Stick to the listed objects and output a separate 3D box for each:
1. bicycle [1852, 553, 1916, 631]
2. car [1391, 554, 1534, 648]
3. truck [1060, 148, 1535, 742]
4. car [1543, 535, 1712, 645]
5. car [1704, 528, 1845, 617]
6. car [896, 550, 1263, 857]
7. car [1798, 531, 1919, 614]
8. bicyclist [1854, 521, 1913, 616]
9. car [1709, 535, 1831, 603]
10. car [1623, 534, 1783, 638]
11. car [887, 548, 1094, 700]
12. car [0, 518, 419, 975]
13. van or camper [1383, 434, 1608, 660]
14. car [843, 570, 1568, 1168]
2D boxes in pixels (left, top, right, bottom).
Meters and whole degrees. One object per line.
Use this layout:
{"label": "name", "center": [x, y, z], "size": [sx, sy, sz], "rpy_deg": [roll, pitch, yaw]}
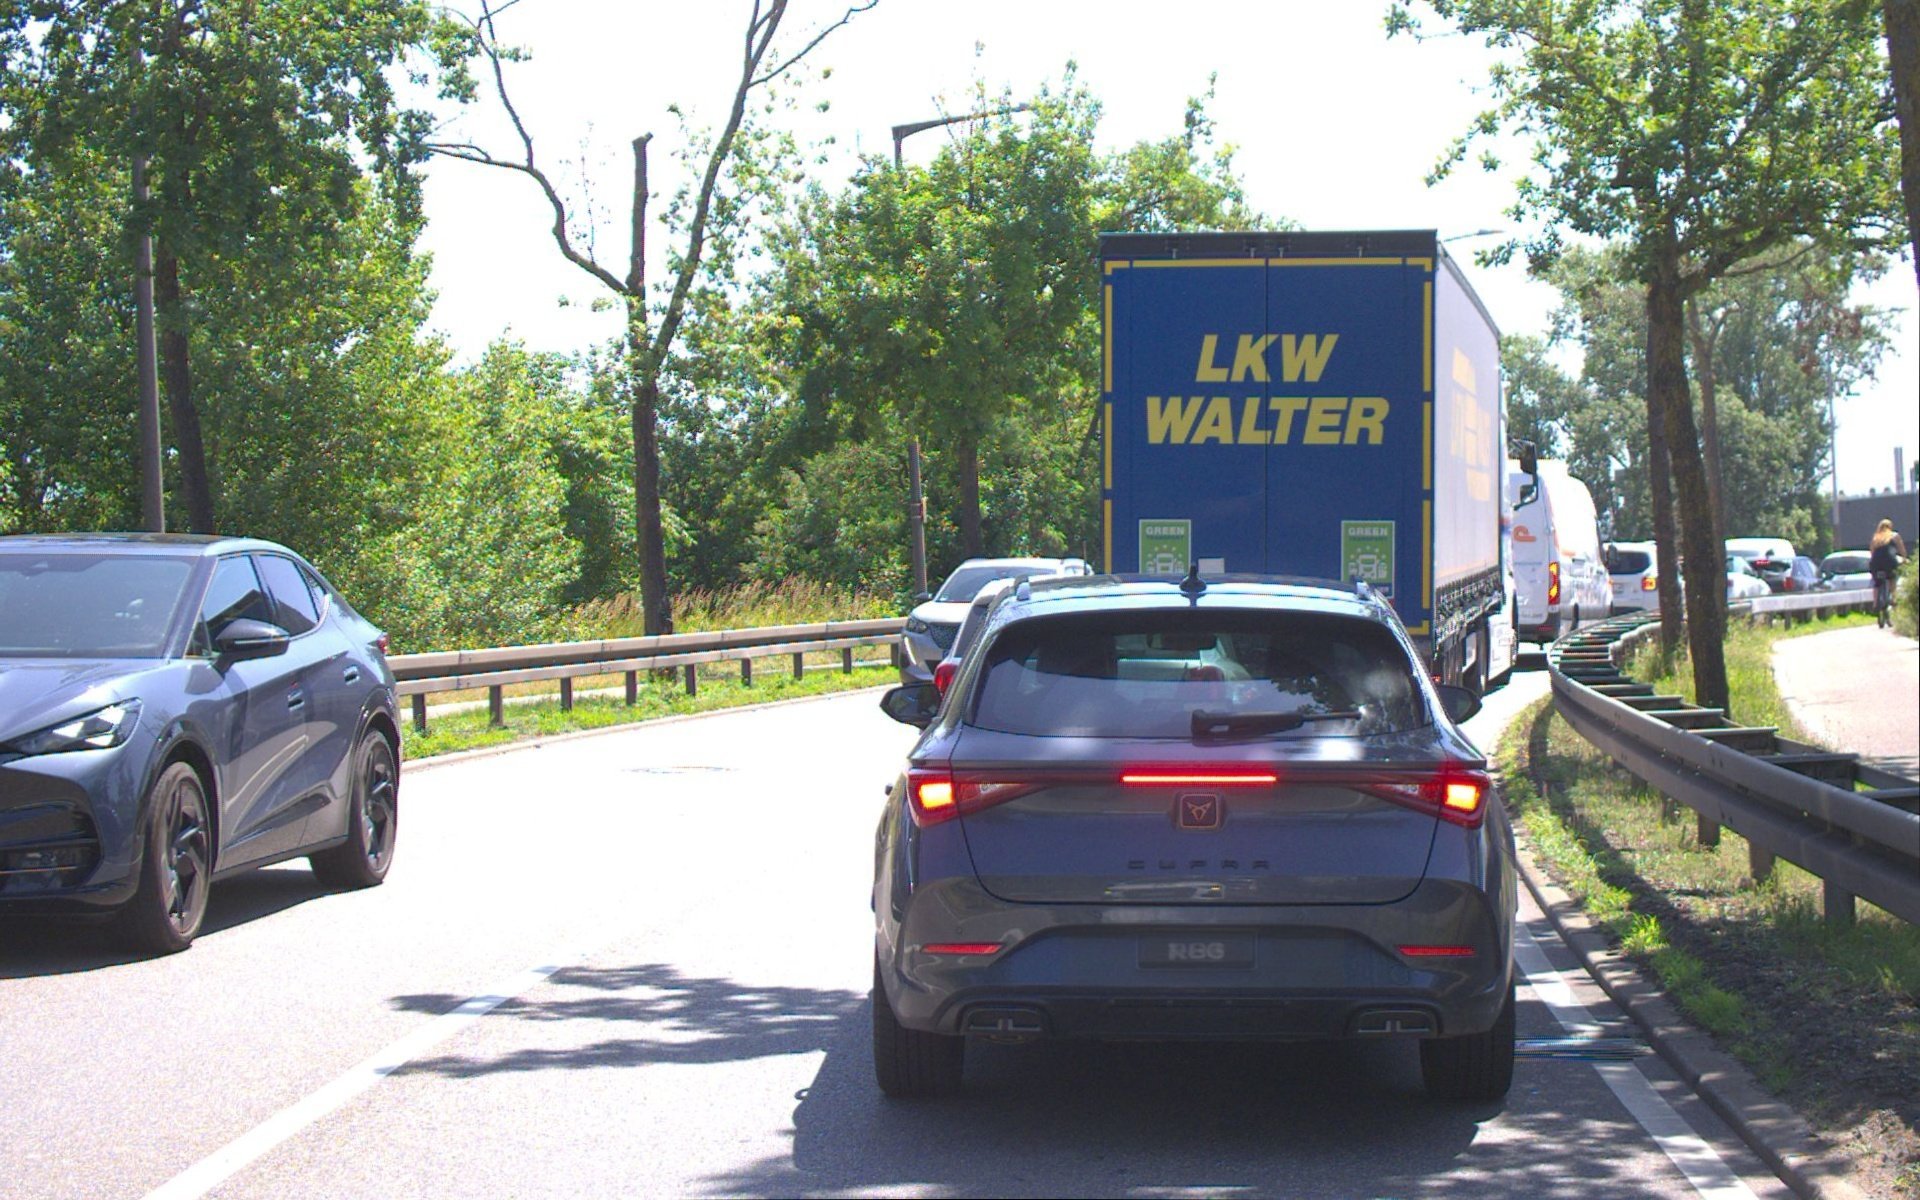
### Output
{"label": "bicycle", "center": [14.933, -0.140, 55.516], "size": [0.861, 1.232, 2.307], "rpy_deg": [1, 1, 18]}
{"label": "car", "center": [9.257, -0.012, 63.097], "size": [1.871, 1.598, 4.389], "rpy_deg": [1, 1, 18]}
{"label": "truck", "center": [3.901, -1.245, 34.197], "size": [2.951, 4.433, 16.789], "rpy_deg": [0, 1, 12]}
{"label": "car", "center": [11.003, -0.180, 56.424], "size": [1.995, 1.706, 4.615], "rpy_deg": [1, 1, 20]}
{"label": "car", "center": [16.463, -0.562, 69.357], "size": [1.996, 1.711, 4.863], "rpy_deg": [1, 1, 23]}
{"label": "car", "center": [0.746, 0.492, 19.022], "size": [1.809, 1.503, 3.999], "rpy_deg": [0, 1, 5]}
{"label": "car", "center": [19.890, -0.603, 75.601], "size": [1.996, 1.762, 4.748], "rpy_deg": [1, 1, 24]}
{"label": "bicyclist", "center": [14.921, -0.507, 55.533], "size": [0.861, 1.518, 0.979], "rpy_deg": [1, 0, 18]}
{"label": "car", "center": [19.241, -0.736, 81.563], "size": [1.752, 1.550, 4.120], "rpy_deg": [1, 1, 29]}
{"label": "car", "center": [13.609, -0.268, 62.755], "size": [1.996, 1.802, 4.840], "rpy_deg": [1, 1, 23]}
{"label": "car", "center": [0.388, 0.224, 37.587], "size": [1.750, 1.550, 4.125], "rpy_deg": [0, 1, 8]}
{"label": "car", "center": [-3.678, 0.493, 14.320], "size": [1.869, 1.598, 4.392], "rpy_deg": [1, 0, 4]}
{"label": "van or camper", "center": [7.643, -0.735, 48.521], "size": [2.468, 2.988, 6.082], "rpy_deg": [1, 1, 15]}
{"label": "car", "center": [0.639, 0.633, 10.275], "size": [1.744, 1.427, 3.880], "rpy_deg": [0, 1, 1]}
